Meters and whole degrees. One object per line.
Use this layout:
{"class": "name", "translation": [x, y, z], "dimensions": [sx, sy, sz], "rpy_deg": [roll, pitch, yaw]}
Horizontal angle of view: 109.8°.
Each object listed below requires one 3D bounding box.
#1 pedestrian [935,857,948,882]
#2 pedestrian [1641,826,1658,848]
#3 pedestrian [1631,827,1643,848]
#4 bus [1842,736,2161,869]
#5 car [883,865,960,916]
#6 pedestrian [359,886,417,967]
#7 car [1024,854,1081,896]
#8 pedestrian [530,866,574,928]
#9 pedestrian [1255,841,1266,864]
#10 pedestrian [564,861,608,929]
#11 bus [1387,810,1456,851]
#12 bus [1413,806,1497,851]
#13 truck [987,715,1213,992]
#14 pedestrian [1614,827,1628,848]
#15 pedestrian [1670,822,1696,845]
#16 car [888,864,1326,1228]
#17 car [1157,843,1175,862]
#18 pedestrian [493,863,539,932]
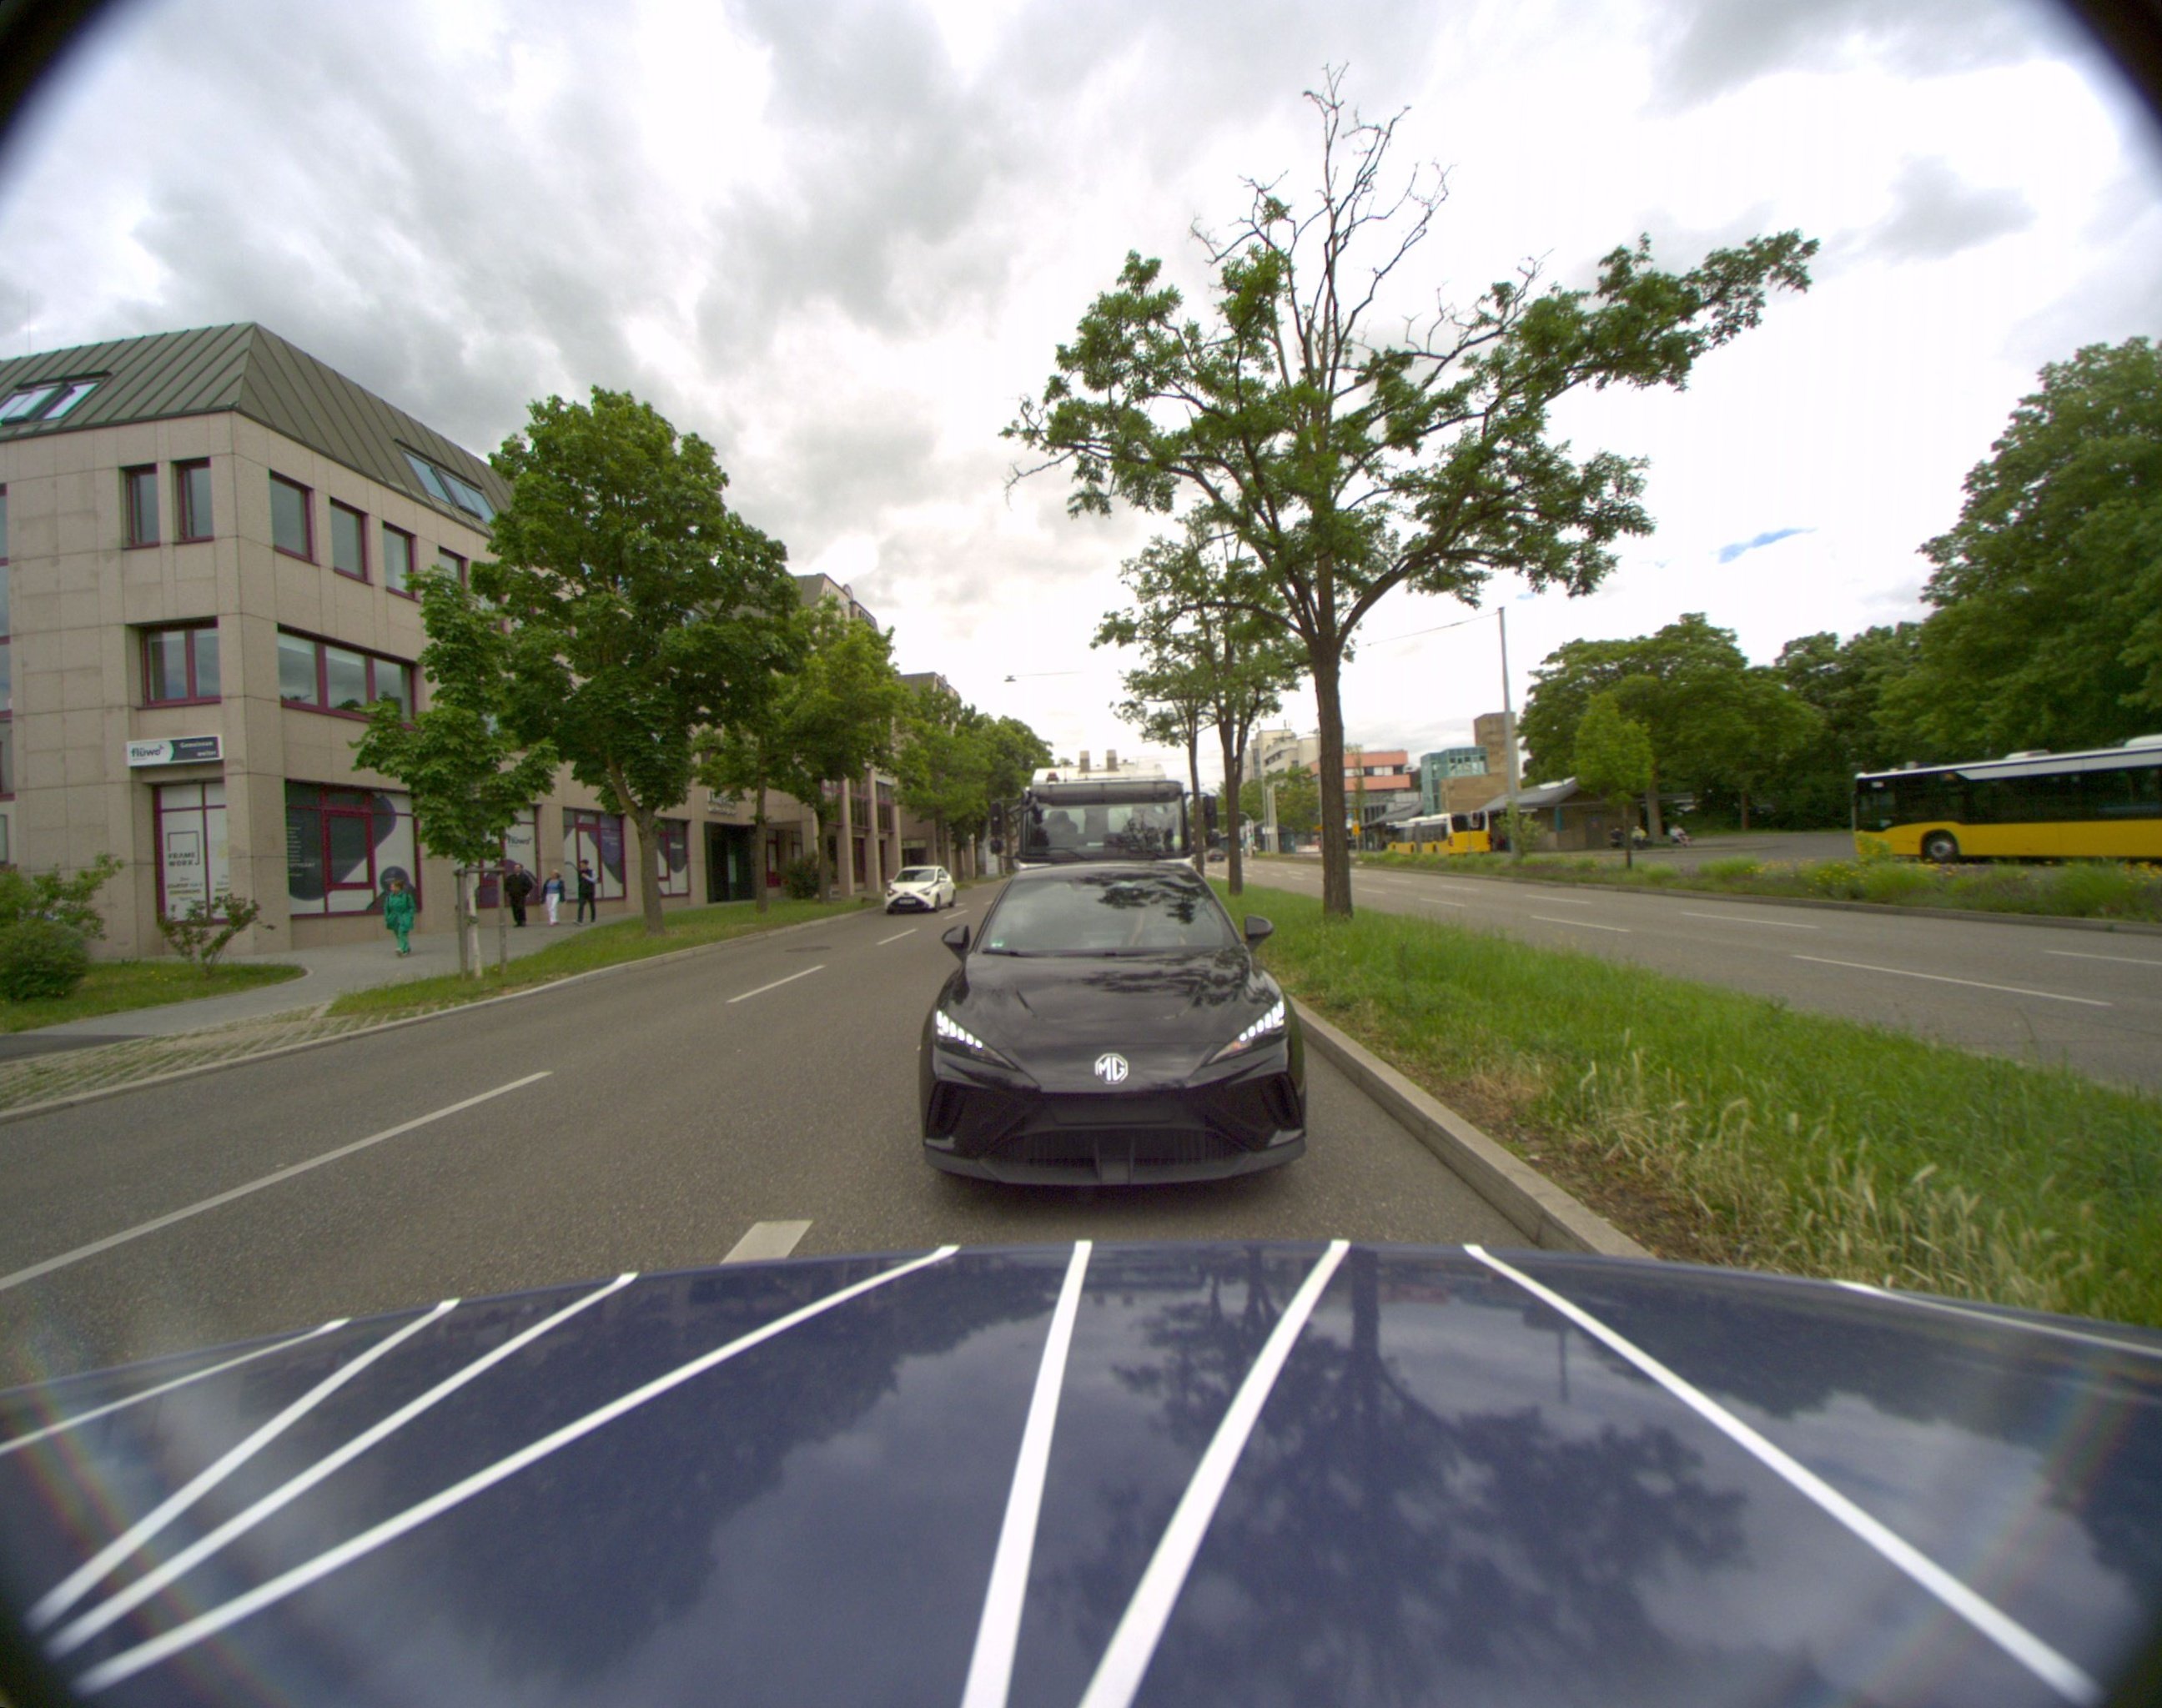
{"class": "pedestrian", "translation": [-10.632, 1.189, 57.997], "dimensions": [0.719, 1.811, 0.949], "rpy_deg": [-2, 1, 1]}
{"class": "pedestrian", "translation": [30.692, -0.912, 41.042], "dimensions": [0.598, 1.155, 0.744], "rpy_deg": [-2, 1, 26]}
{"class": "pedestrian", "translation": [30.235, -0.898, 41.295], "dimensions": [0.367, 1.160, 0.899], "rpy_deg": [-2, 1, 26]}
{"class": "bus", "translation": [25.947, -1.242, 19.614], "dimensions": [2.888, 2.985, 10.397], "rpy_deg": [-3, 0, 6]}
{"class": "car", "translation": [-5.112, 1.130, 24.782], "dimensions": [1.657, 1.417, 3.535], "rpy_deg": [-2, 0, 1]}
{"class": "pedestrian", "translation": [-13.442, 1.385, 14.747], "dimensions": [0.496, 1.510, 0.677], "rpy_deg": [0, 1, 1]}
{"class": "car", "translation": [-1.148, 0.869, 32.883], "dimensions": [1.895, 1.586, 4.315], "rpy_deg": [-3, 0, 5]}
{"class": "pedestrian", "translation": [-14.448, 1.165, 20.765], "dimensions": [0.642, 1.637, 0.677], "rpy_deg": [-3, 1, 1]}
{"class": "pedestrian", "translation": [21.917, -0.148, 92.871], "dimensions": [1.145, 2.772, 0.905], "rpy_deg": [-2, 1, 8]}
{"class": "pedestrian", "translation": [-13.591, 1.104, 20.875], "dimensions": [0.642, 1.795, 0.677], "rpy_deg": [-3, 1, 1]}
{"class": "bus", "translation": [27.672, -1.827, 62.275], "dimensions": [2.887, 2.985, 9.182], "rpy_deg": [-3, 0, 10]}
{"class": "bus", "translation": [26.109, -1.675, 53.604], "dimensions": [2.887, 2.793, 9.182], "rpy_deg": [-3, 0, 11]}
{"class": "truck", "translation": [0.336, -0.006, 12.731], "dimensions": [2.544, 3.187, 7.369], "rpy_deg": [-3, 0, 2]}
{"class": "pedestrian", "translation": [30.702, -0.956, 43.207], "dimensions": [0.598, 1.155, 0.744], "rpy_deg": [-2, 1, 31]}
{"class": "pedestrian", "translation": [31.975, -1.089, 40.354], "dimensions": [0.650, 1.165, 0.925], "rpy_deg": [-2, 1, 1]}
{"class": "car", "translation": [0.140, 0.862, 5.280], "dimensions": [1.827, 1.430, 4.000], "rpy_deg": [-3, 0, 1]}
{"class": "car", "translation": [9.467, -0.166, 84.907], "dimensions": [1.726, 2.002, 4.001], "rpy_deg": [-3, 0, 3]}
{"class": "pedestrian", "translation": [-15.356, 1.174, 20.654], "dimensions": [0.642, 1.795, 0.677], "rpy_deg": [-3, 1, 1]}
